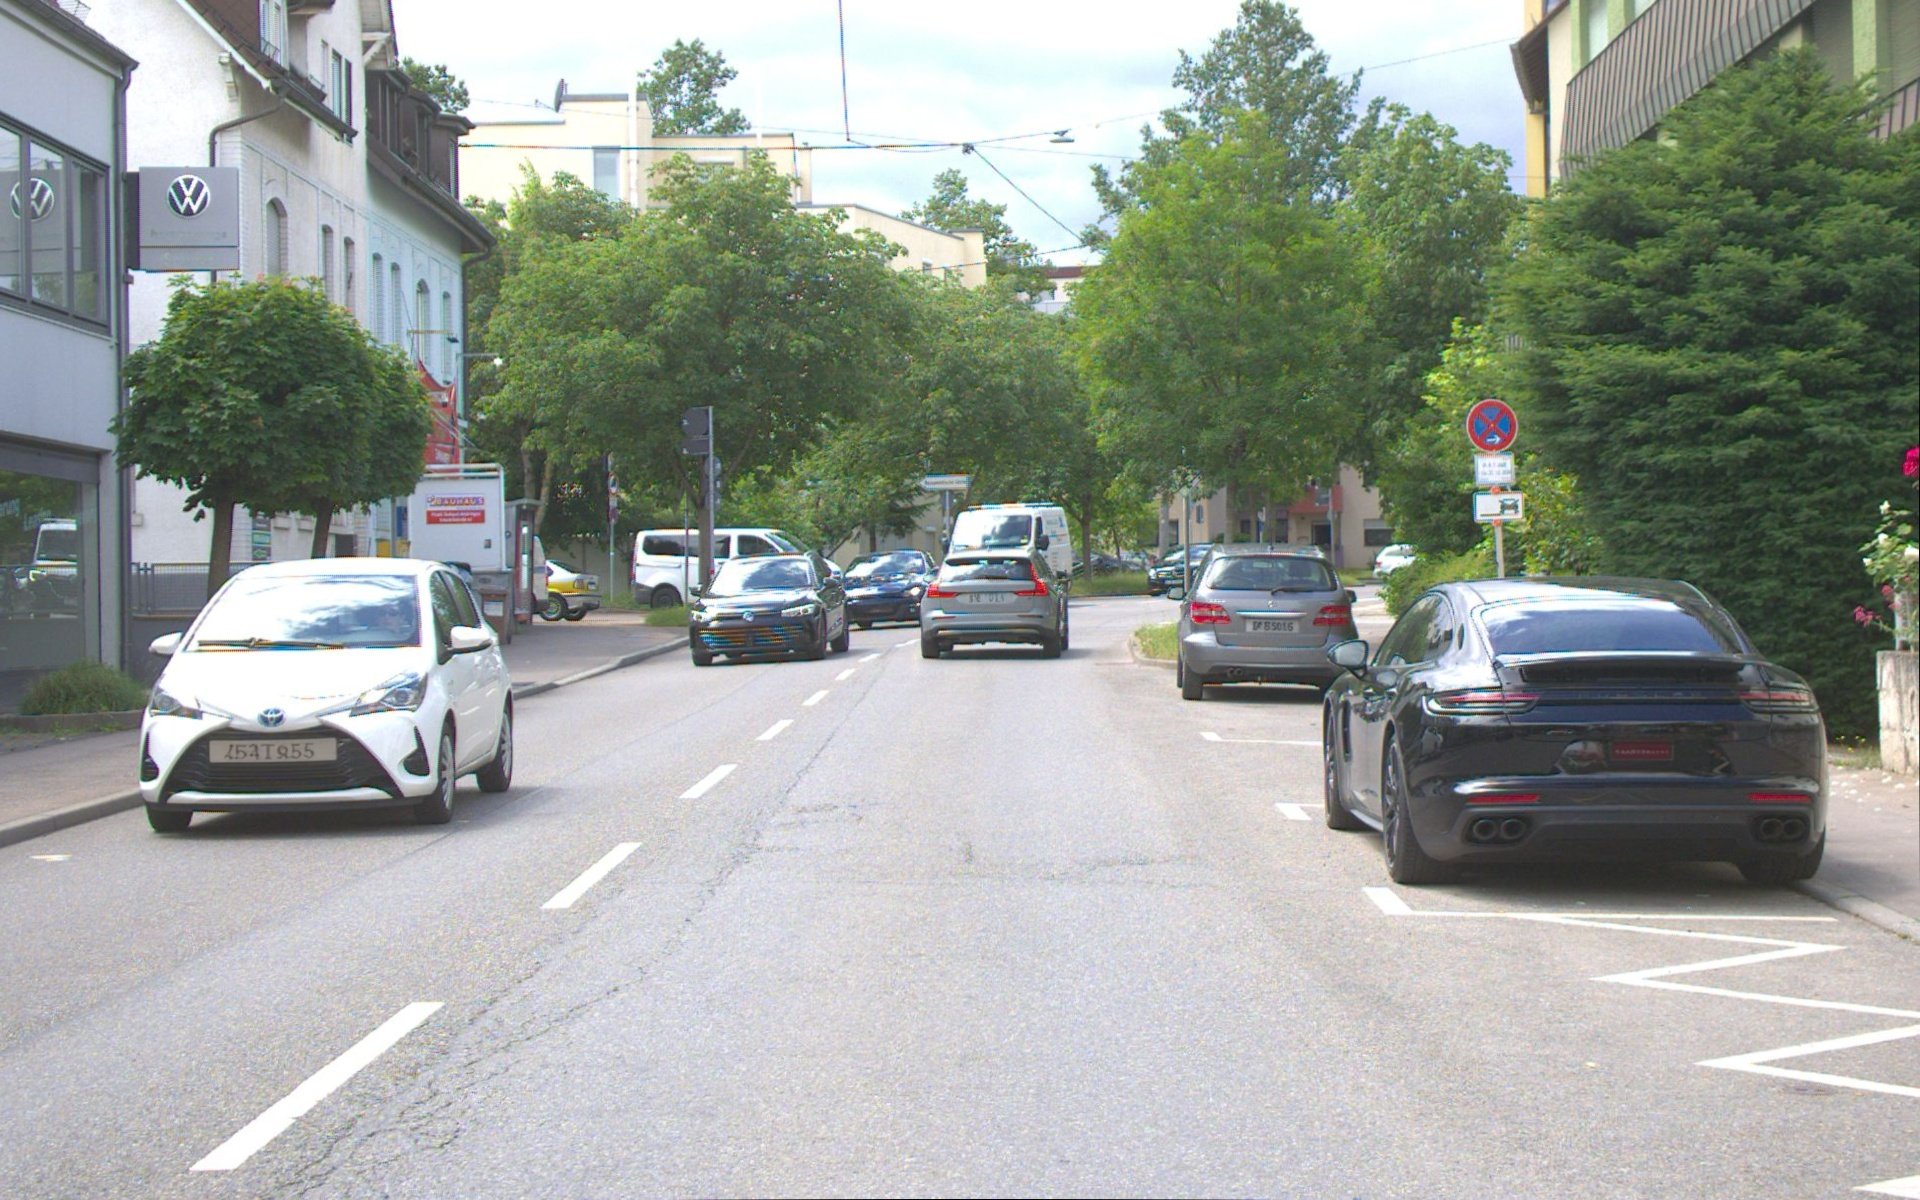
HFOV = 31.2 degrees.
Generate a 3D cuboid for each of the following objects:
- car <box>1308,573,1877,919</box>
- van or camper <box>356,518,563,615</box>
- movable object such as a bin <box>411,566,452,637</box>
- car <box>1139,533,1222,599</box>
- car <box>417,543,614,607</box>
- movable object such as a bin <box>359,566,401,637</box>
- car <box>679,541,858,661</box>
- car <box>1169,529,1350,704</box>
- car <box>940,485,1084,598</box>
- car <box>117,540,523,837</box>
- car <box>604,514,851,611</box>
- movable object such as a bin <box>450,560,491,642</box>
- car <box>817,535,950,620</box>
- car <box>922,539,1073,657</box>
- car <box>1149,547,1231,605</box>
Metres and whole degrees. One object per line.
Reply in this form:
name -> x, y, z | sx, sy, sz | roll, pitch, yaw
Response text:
car -> 2.943, 0.613, 17.062 | 1.984, 1.443, 4.751 | -1, 0, 1
van or camper -> -10.584, -0.695, 72.916 | 1.788, 1.987, 4.370 | -1, 0, 36
movable object such as a bin -> -8.344, 0.019, 54.239 | 0.564, 1.097, 0.563 | 1, 0, -3
car -> 5.275, -0.812, 82.471 | 1.614, 1.518, 3.570 | -1, 0, -2
car -> -9.971, -0.542, 77.252 | 4.019, 1.408, 1.814 | 0, 0, 13
movable object such as a bin -> -9.138, 0.024, 54.198 | 0.564, 1.097, 0.563 | 1, 0, -3
car -> -2.639, -0.015, 48.455 | 1.776, 1.518, 4.461 | -3, 1, 6
car -> 3.106, 0.120, 36.320 | 1.690, 1.660, 4.462 | -1, 2, 3
car -> 1.217, -1.357, 77.266 | 2.064, 2.345, 5.180 | -3, 1, 13
car -> -3.693, 0.469, 20.438 | 1.690, 1.574, 3.800 | -1, 0, 0
car -> -5.371, -0.865, 79.586 | 5.217, 1.987, 2.107 | -2, 1, 19
movable object such as a bin -> -7.727, 0.012, 54.282 | 0.564, 1.268, 0.563 | 1, 1, -3
car -> -1.338, -0.427, 62.002 | 1.771, 1.420, 4.108 | -2, 1, 7
car -> 0.541, -0.061, 46.977 | 1.956, 1.518, 4.329 | -1, 1, 2
car -> 6.425, -0.677, 95.706 | 1.687, 1.477, 4.224 | -4, 0, 11
